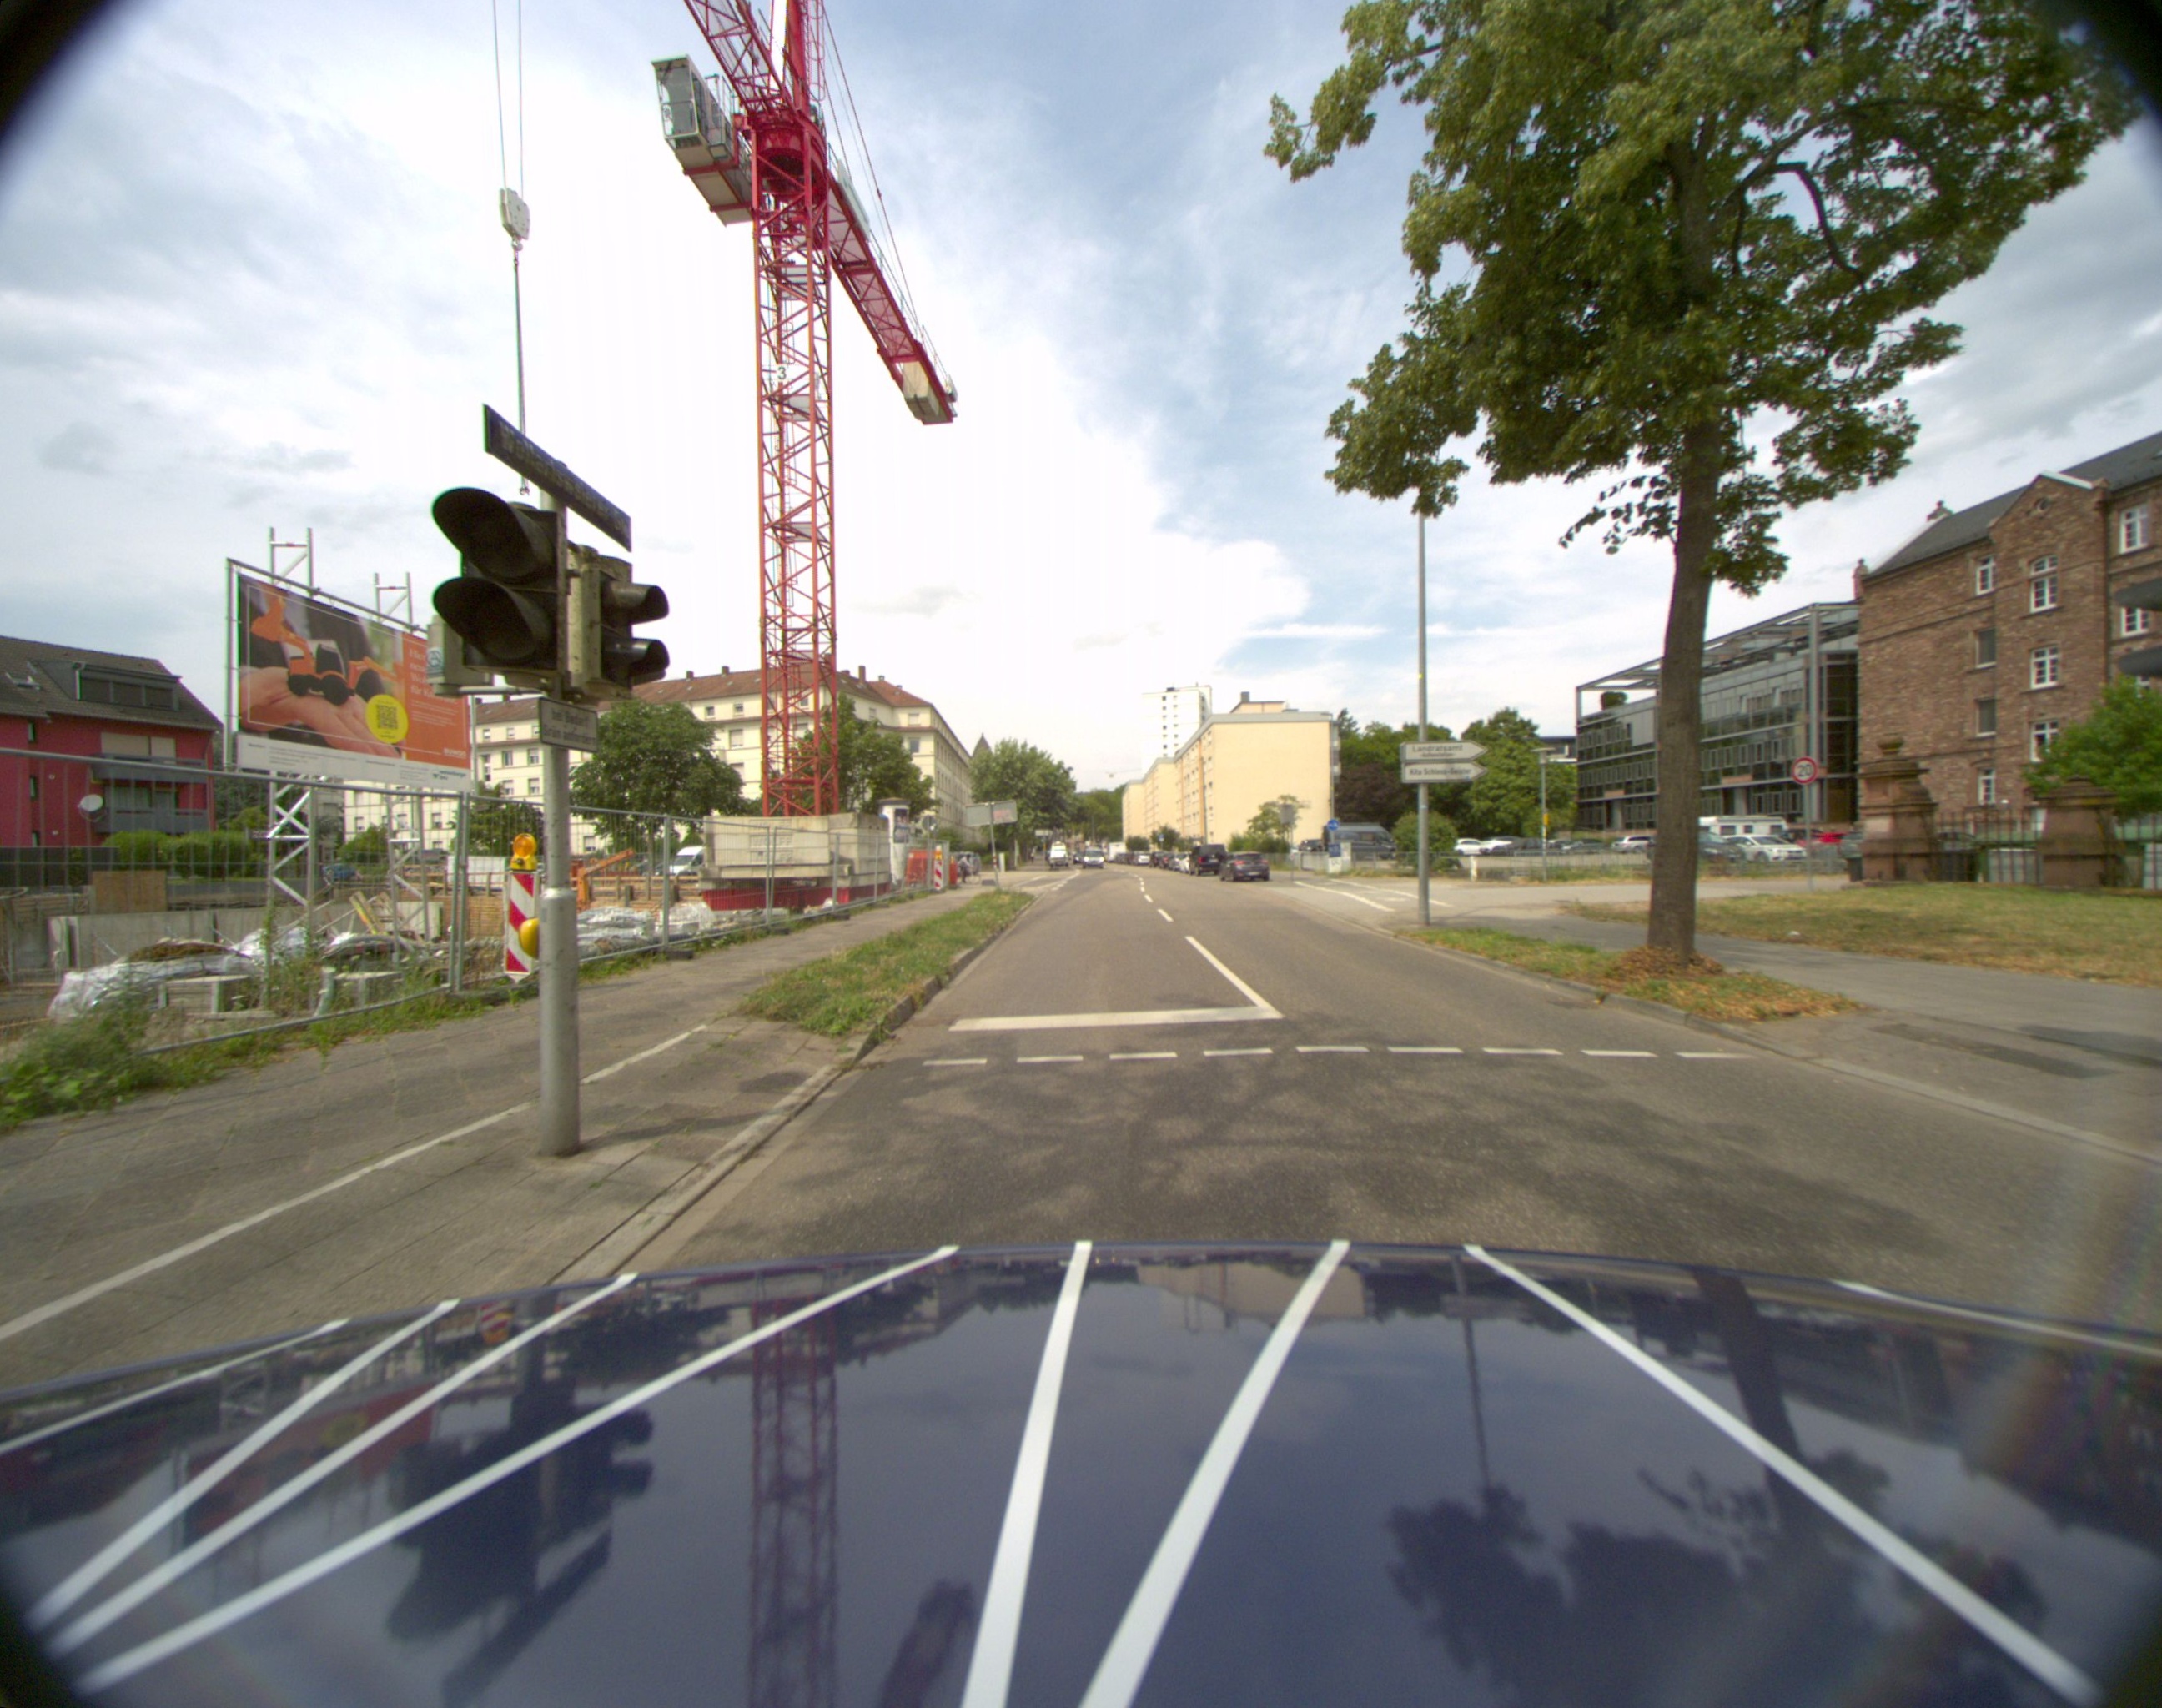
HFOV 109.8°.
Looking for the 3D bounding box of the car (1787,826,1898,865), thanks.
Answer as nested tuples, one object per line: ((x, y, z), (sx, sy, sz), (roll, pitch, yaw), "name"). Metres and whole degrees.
((43.032, -0.465, 42.989), (4.372, 2.124, 1.805), (0, 1, 2), "car")

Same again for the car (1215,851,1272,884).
((8.068, 0.632, 38.081), (1.827, 1.464, 4.296), (-3, 0, -1), "car")

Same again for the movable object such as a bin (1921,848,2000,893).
((20.811, 0.375, 17.991), (1.040, 1.027, 0.709), (-1, 1, 2), "movable object such as a bin")

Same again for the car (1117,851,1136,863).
((5.881, 0.345, 98.739), (1.722, 1.498, 4.623), (-1, 1, -5), "car")

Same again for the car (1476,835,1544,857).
((32.103, -0.600, 56.955), (4.166, 1.474, 1.616), (-1, 1, 0), "car")

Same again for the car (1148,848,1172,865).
((7.331, 0.201, 70.958), (1.626, 1.566, 3.998), (-1, 1, -4), "car")

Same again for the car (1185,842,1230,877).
((7.993, 0.337, 48.418), (1.953, 1.992, 4.843), (-3, 0, 0), "car")

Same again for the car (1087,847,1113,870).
((1.646, 0.381, 67.079), (1.999, 2.002, 3.998), (0, 1, -2), "car")

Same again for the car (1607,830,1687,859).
((43.101, -0.703, 57.973), (4.371, 2.124, 2.205), (0, 1, 5), "car")

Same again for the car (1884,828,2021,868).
((43.224, -0.282, 37.764), (4.516, 1.926, 1.876), (0, 1, 2), "car")

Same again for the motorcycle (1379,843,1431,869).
((15.059, 0.087, 35.368), (2.095, 1.135, 0.725), (0, 1, 5), "motorcycle")

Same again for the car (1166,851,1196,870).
((7.786, 0.481, 59.555), (1.692, 1.448, 4.262), (-1, 0, -2), "car")

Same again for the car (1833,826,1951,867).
((43.273, -0.394, 40.615), (4.372, 2.124, 1.726), (0, 1, 1), "car")

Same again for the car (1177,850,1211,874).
((7.986, 0.552, 53.844), (1.658, 1.520, 3.764), (-2, 0, -2), "car")

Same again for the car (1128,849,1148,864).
((6.571, 0.245, 87.504), (1.722, 1.615, 3.838), (-1, 1, -4), "car")

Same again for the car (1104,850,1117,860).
((4.805, 0.165, 123.230), (1.853, 1.623, 4.217), (0, 1, -2), "car")

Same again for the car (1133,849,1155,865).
((6.753, 0.343, 81.737), (1.791, 1.554, 4.550), (-3, 0, -1), "car")

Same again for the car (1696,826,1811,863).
((33.131, -0.483, 37.604), (1.969, 1.647, 4.234), (-1, 1, 0), "car")

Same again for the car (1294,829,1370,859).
((18.947, -0.739, 57.601), (5.097, 2.137, 2.229), (-1, 0, 3), "car")

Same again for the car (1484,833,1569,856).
((31.844, -0.667, 54.426), (4.703, 1.654, 2.330), (0, 1, 2), "car")

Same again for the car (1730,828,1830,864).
((42.229, -0.486, 45.994), (4.372, 2.124, 1.726), (0, 1, 2), "car")

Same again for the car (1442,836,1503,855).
((31.844, -0.684, 61.900), (3.997, 1.474, 1.970), (-1, 1, 0), "car")

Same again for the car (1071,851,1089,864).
((-0.139, 0.419, 94.719), (1.999, 1.656, 3.998), (0, 1, -2), "car")

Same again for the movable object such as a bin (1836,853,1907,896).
((19.738, 0.507, 18.985), (1.040, 1.027, 0.709), (-1, 1, 2), "movable object such as a bin")

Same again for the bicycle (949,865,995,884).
((-5.680, 1.054, 39.360), (2.473, 0.927, 0.716), (-2, 0, 33), "bicycle")

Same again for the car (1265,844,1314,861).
((19.159, -0.143, 69.966), (3.995, 1.474, 2.001), (-1, 1, 6), "car")

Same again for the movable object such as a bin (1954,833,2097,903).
((20.801, 0.288, 16.789), (1.204, 1.459, 1.571), (-1, 1, 2), "movable object such as a bin")

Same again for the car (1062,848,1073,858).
((-2.513, -0.164, 139.066), (1.949, 1.656, 3.998), (0, 1, -2), "car")

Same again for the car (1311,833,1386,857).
((19.242, -0.618, 54.813), (4.707, 1.608, 2.001), (-1, 0, 2), "car")

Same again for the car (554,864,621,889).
((-37.718, 1.712, 58.197), (1.796, 1.580, 3.923), (-3, 1, 21), "car")

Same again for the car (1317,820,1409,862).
((19.262, -0.881, 52.149), (5.323, 2.537, 2.354), (-3, 1, 2), "car")

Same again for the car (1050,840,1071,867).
((-2.086, -0.087, 77.734), (1.900, 2.587, 4.903), (-4, 1, -2), "car")

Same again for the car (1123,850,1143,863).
((6.300, 0.271, 92.291), (1.681, 1.495, 4.262), (-2, 1, -5), "car")

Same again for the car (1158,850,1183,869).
((7.682, 0.437, 65.380), (1.691, 1.462, 4.048), (-2, 1, 0), "car")

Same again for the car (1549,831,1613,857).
((43.063, -0.857, 65.482), (4.228, 2.124, 1.971), (0, 1, 0), "car")

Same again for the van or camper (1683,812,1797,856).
((41.891, -1.279, 48.410), (5.061, 2.687, 2.581), (0, 1, 0), "van or camper")

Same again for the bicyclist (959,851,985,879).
((-5.647, 0.568, 39.311), (1.078, 1.404, 0.716), (-4, -1, 33), "bicyclist")

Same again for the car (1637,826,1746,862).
((30.060, -0.506, 37.593), (1.969, 1.647, 4.234), (-1, 1, 0), "car")

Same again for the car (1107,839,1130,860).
((5.416, -0.648, 111.188), (2.622, 3.040, 7.112), (0, 0, -2), "car")

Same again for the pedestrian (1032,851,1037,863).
((-6.926, 0.459, 112.894), (0.808, 1.793, 0.763), (0, 1, -2), "pedestrian")
